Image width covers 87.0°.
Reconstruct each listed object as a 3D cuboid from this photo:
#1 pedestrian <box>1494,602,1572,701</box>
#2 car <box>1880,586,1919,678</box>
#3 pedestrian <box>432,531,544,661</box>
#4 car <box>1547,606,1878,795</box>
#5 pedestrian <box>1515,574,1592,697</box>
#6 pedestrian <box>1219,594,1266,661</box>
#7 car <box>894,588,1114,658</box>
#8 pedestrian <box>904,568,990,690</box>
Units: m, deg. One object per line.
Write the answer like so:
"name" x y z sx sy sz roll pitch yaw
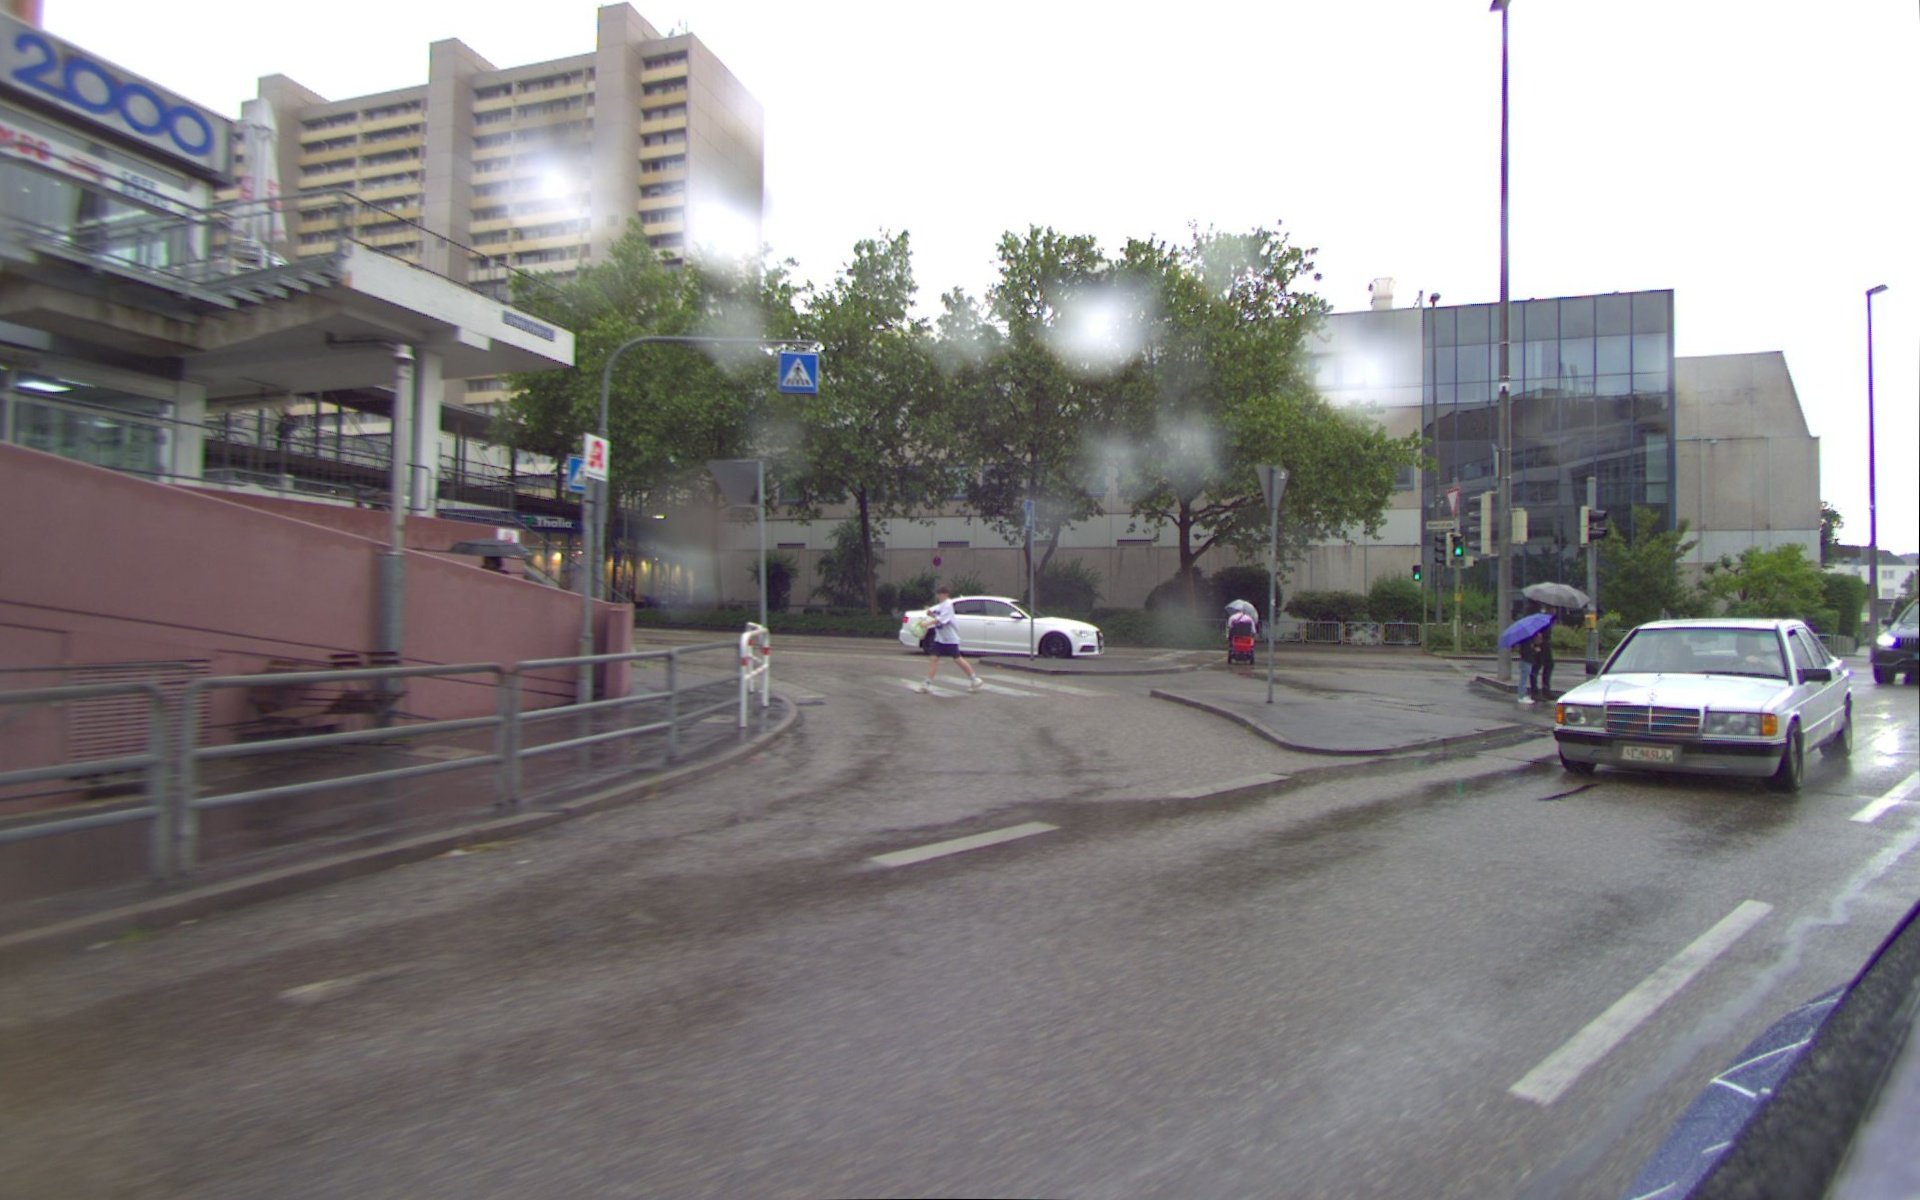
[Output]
"pedestrian" 8.526 0.743 15.067 0.757 1.396 0.689 0 3 -33
"car" 19.234 0.554 19.312 4.403 1.668 2.056 -1 0 -42
"pedestrian" -5.986 -0.049 12.862 0.917 1.572 0.922 0 0 22
"car" 7.074 0.752 9.369 3.925 1.324 1.661 -1 0 -41
"pedestrian" 9.149 0.522 15.600 0.781 1.825 0.689 0 2 -33
"pedestrian" 6.262 0.589 22.486 0.908 1.418 1.209 0 0 11
"car" 1.031 0.499 23.817 4.868 1.533 1.839 0 0 20
"pedestrian" -0.212 0.435 15.766 1.237 1.852 0.717 0 0 -9
